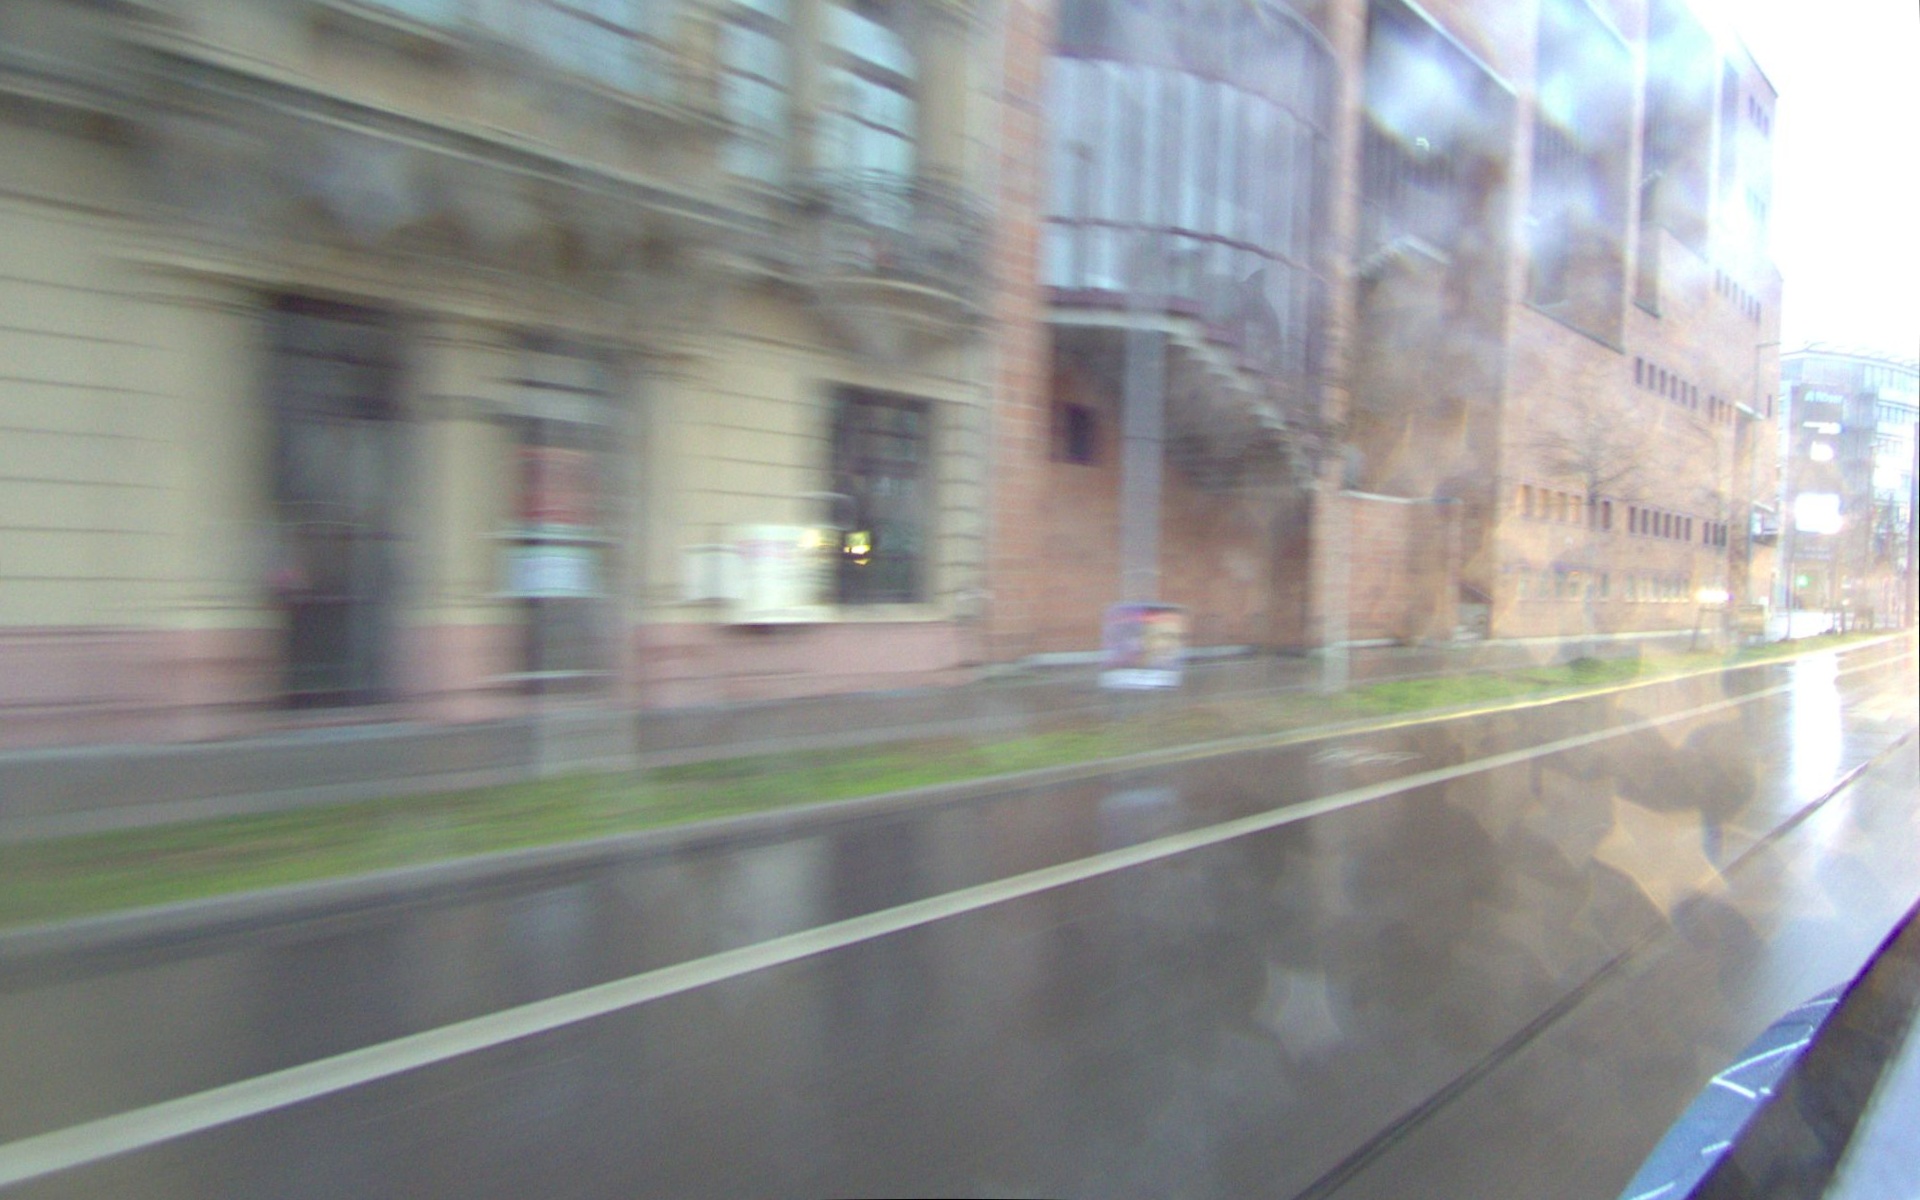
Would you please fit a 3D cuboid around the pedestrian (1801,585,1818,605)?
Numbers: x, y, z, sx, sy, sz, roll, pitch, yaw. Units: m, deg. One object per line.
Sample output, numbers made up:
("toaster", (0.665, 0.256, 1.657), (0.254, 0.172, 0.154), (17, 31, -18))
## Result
("pedestrian", (79.519, -0.500, 94.689), (1.147, 1.809, 0.766), (3, 2, 40))
